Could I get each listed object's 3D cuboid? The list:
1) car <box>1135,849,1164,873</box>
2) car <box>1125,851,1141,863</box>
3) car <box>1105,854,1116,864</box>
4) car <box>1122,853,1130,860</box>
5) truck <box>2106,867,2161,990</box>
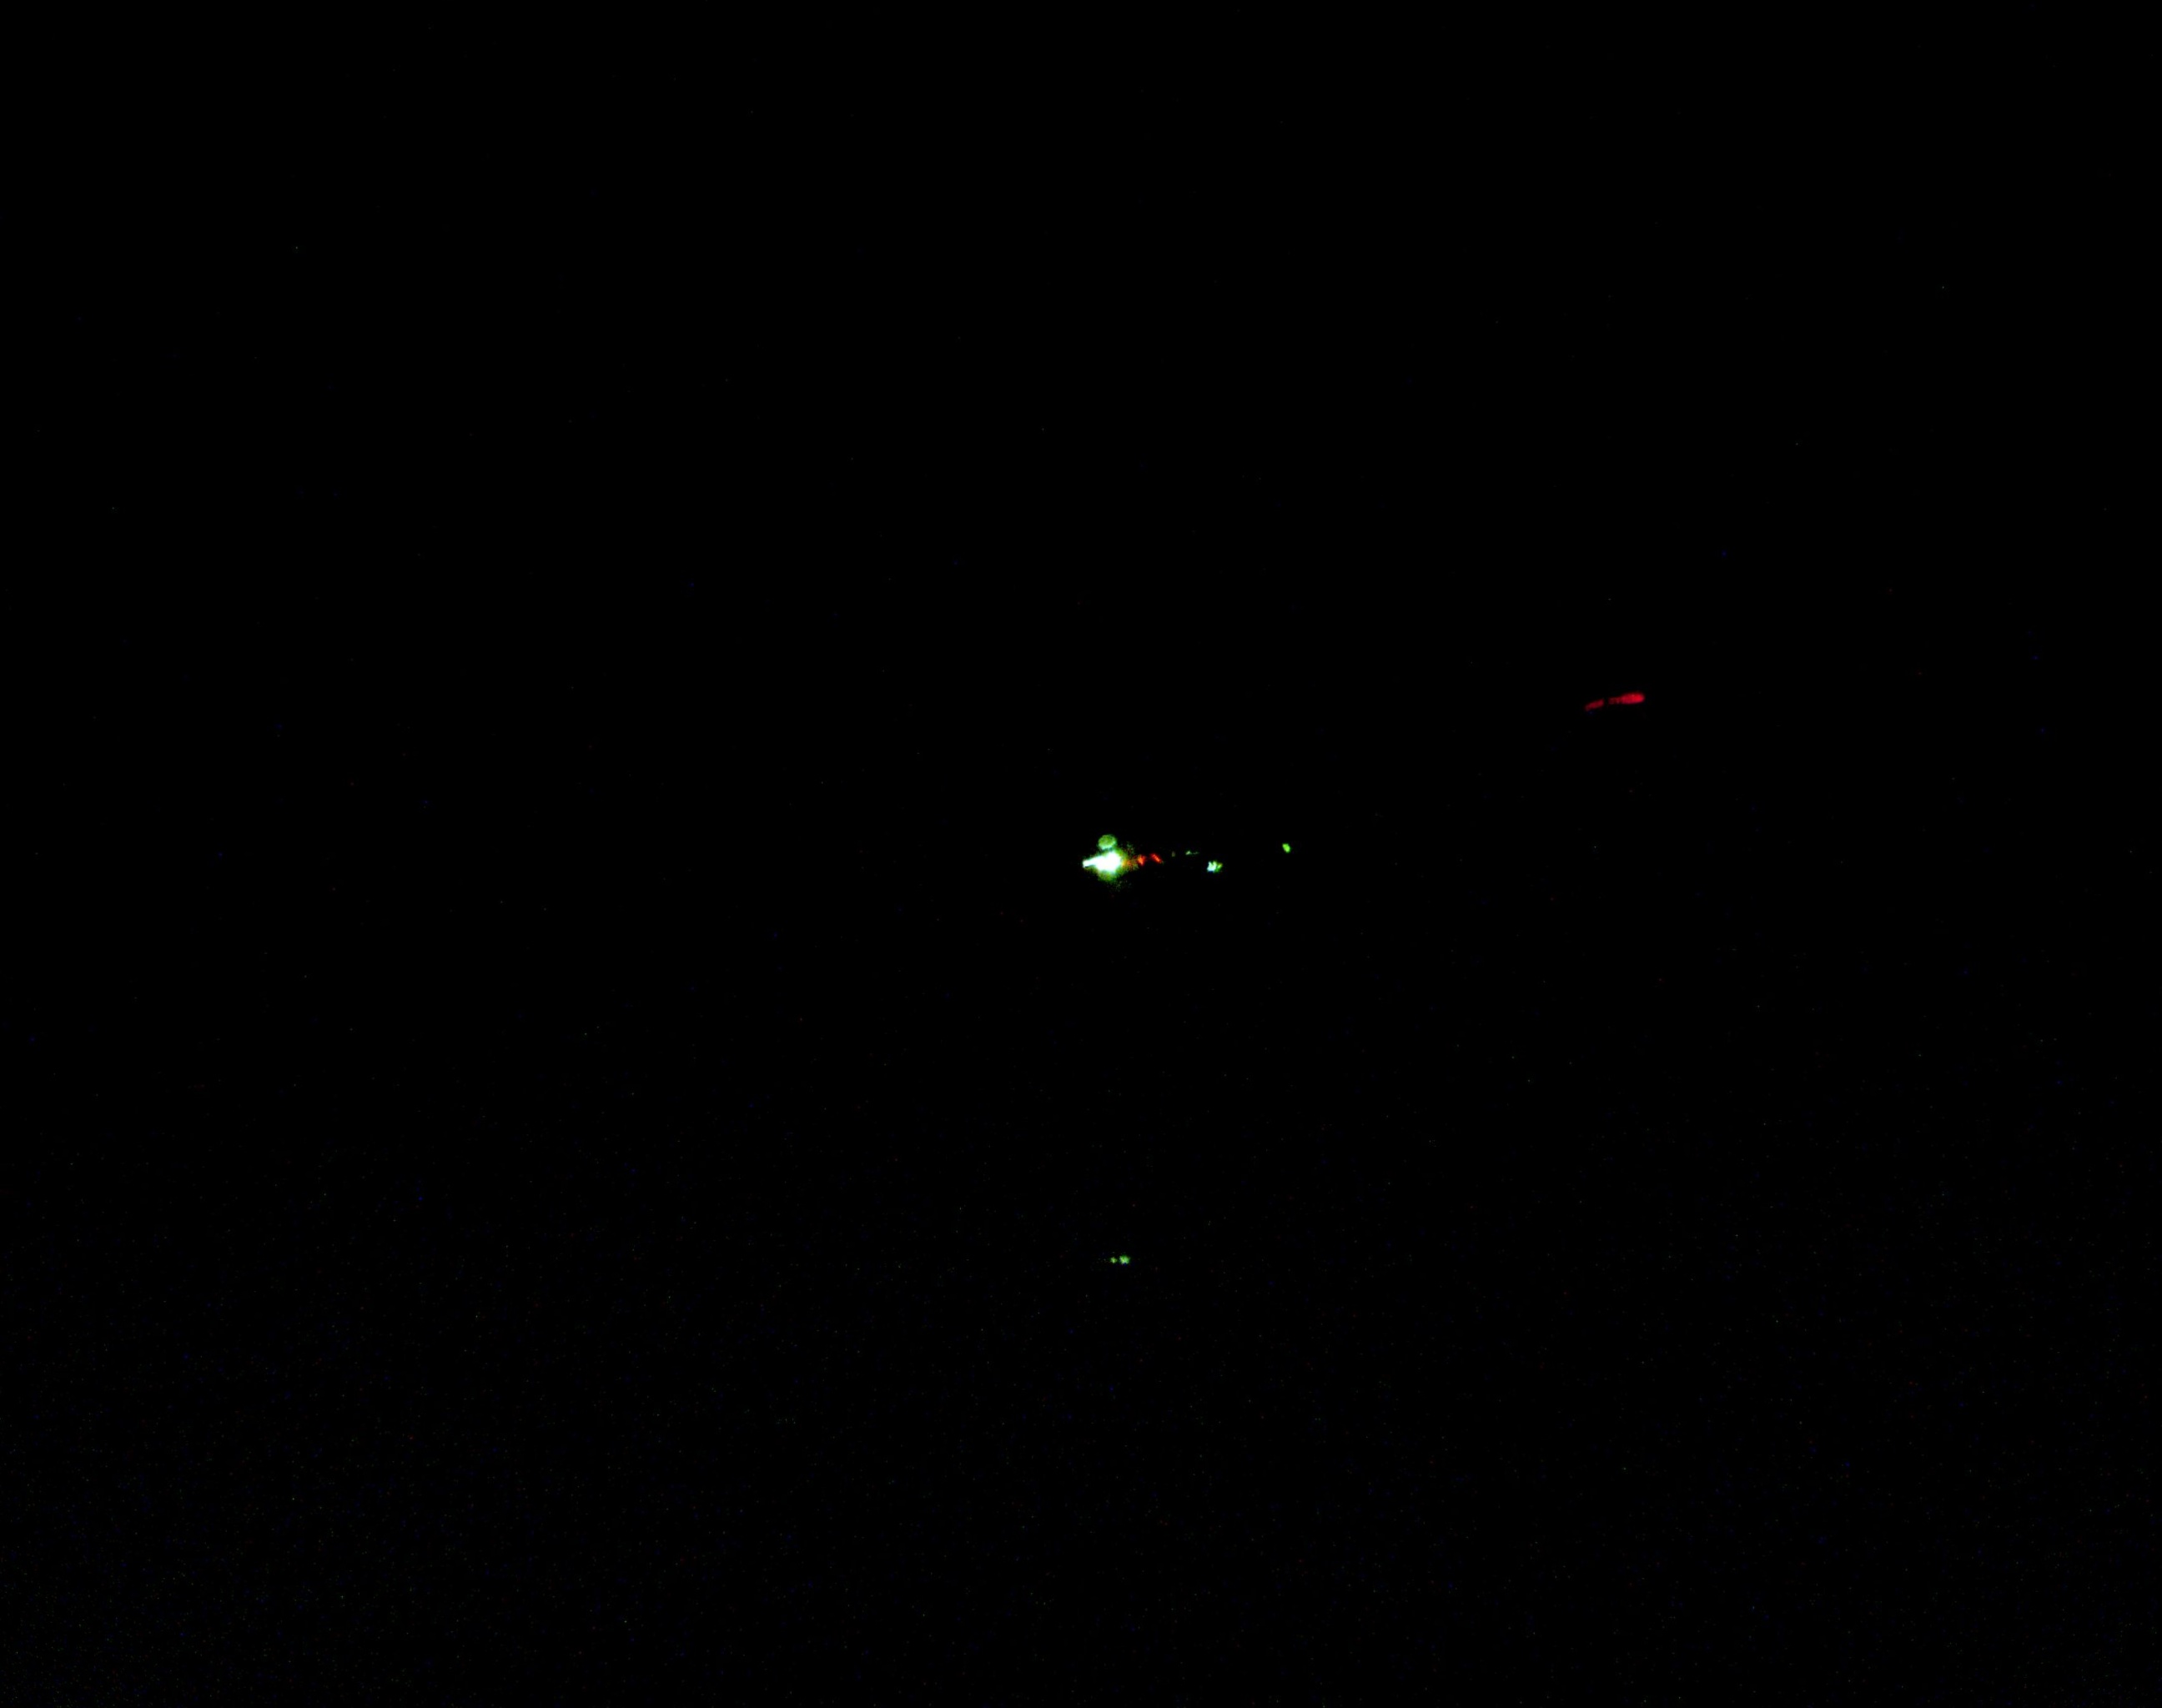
[{"bbox_3d":[4.939,0.460,55.468,1.831,1.608,3.728,-2,1,1],"label":"car"},{"bbox_3d":[6.576,0.392,96.179,1.872,1.434,4.464,-1,1,2],"label":"car"},{"bbox_3d":[4.987,0.900,128.970,1.824,1.565,4.106,-2,1,2],"label":"car"},{"bbox_3d":[10.637,0.566,178.796,1.783,1.565,4.000,-2,1,2],"label":"car"},{"bbox_3d":[31.901,2.128,18.738,2.762,3.462,8.108,-2,0,6],"label":"truck"}]
